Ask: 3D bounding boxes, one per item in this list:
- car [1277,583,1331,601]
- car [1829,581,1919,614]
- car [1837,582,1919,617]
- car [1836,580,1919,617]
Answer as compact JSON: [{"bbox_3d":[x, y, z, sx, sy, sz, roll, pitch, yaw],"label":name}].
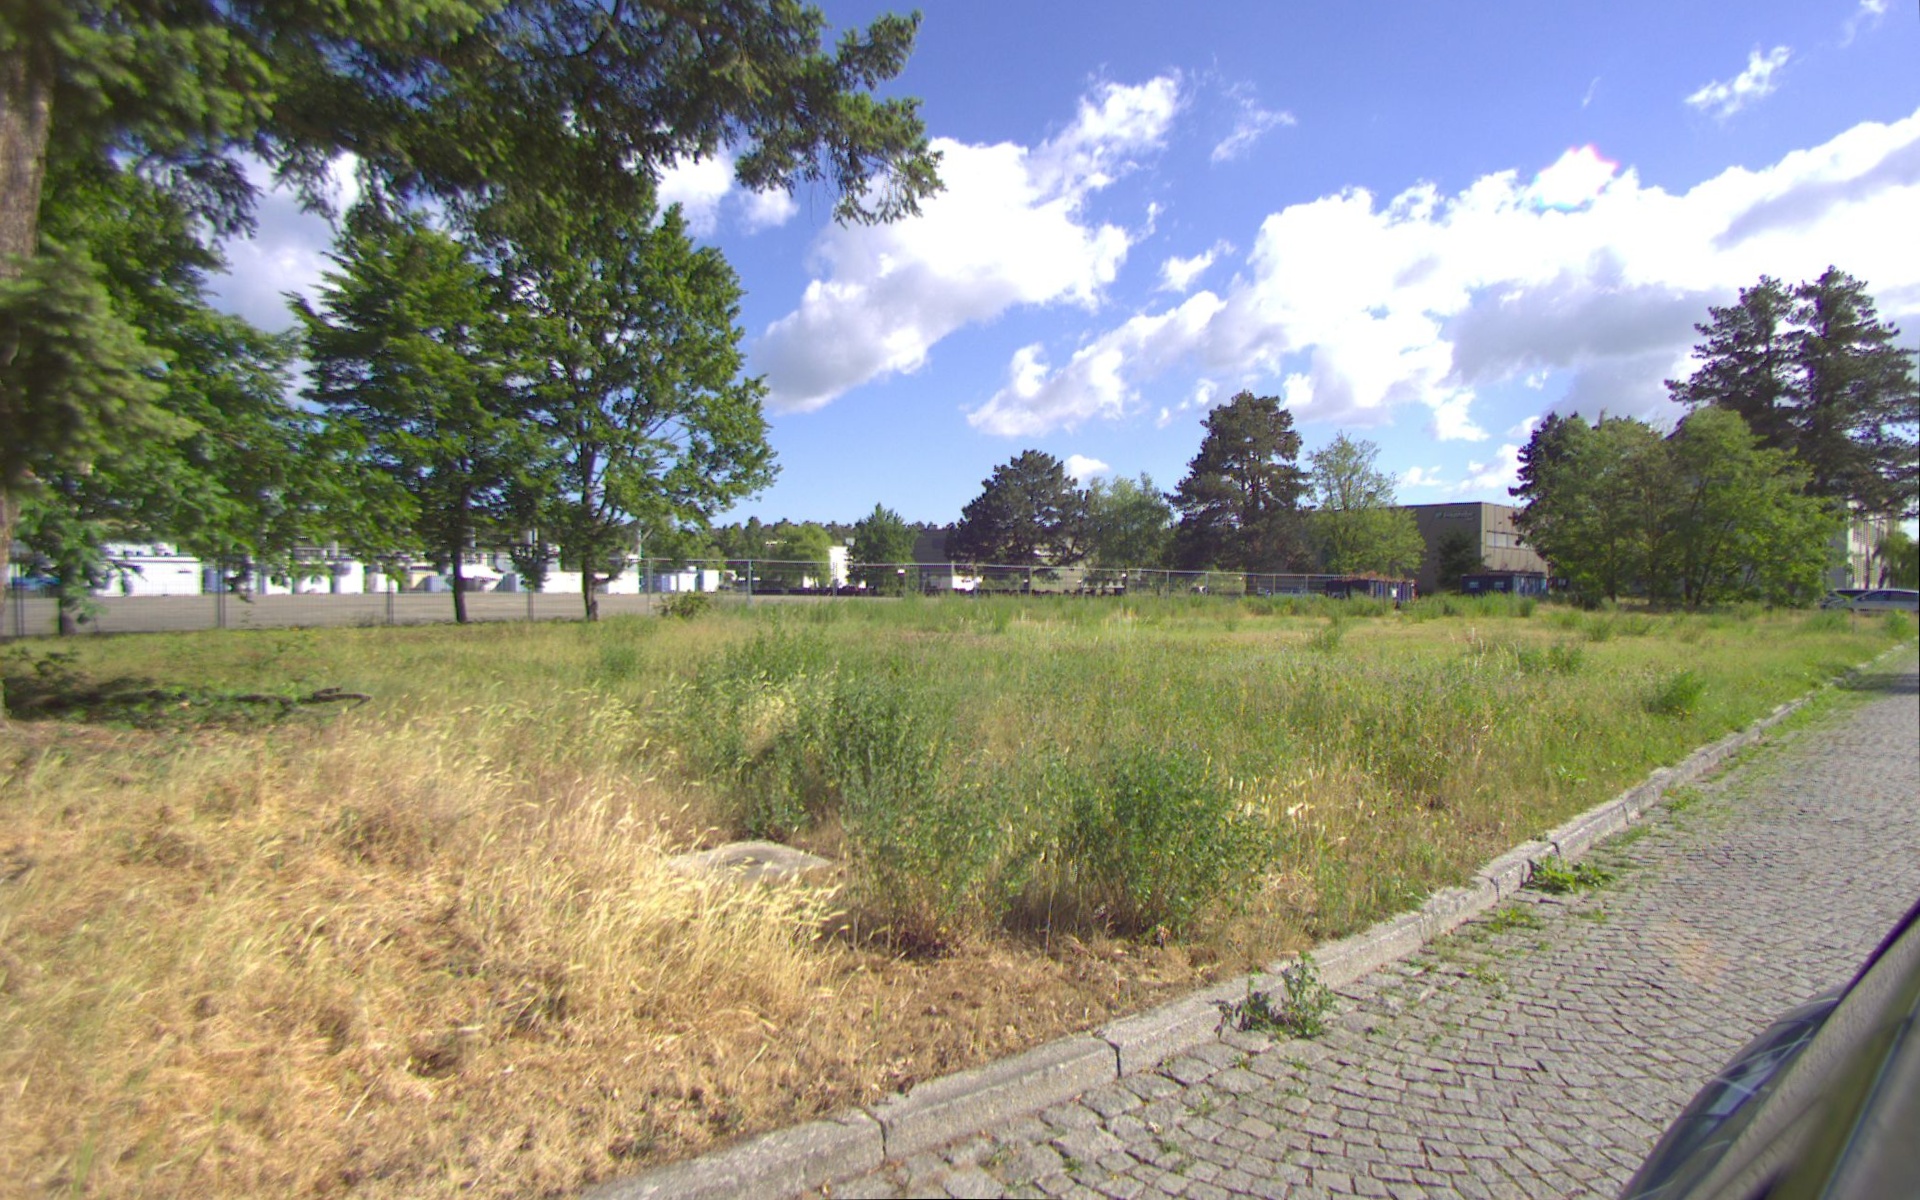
[{"bbox_3d":[29.166,-0.649,85.795,1.716,1.440,3.991,1,0,-43],"label":"car"},{"bbox_3d":[47.381,-0.109,51.590,4.515,1.482,1.810,4,4,44],"label":"car"},{"bbox_3d":[44.056,-0.027,47.669,1.814,1.458,4.008,0,4,-44],"label":"car"},{"bbox_3d":[42.139,-0.068,45.706,1.723,1.494,3.744,-1,4,-44],"label":"car"}]
